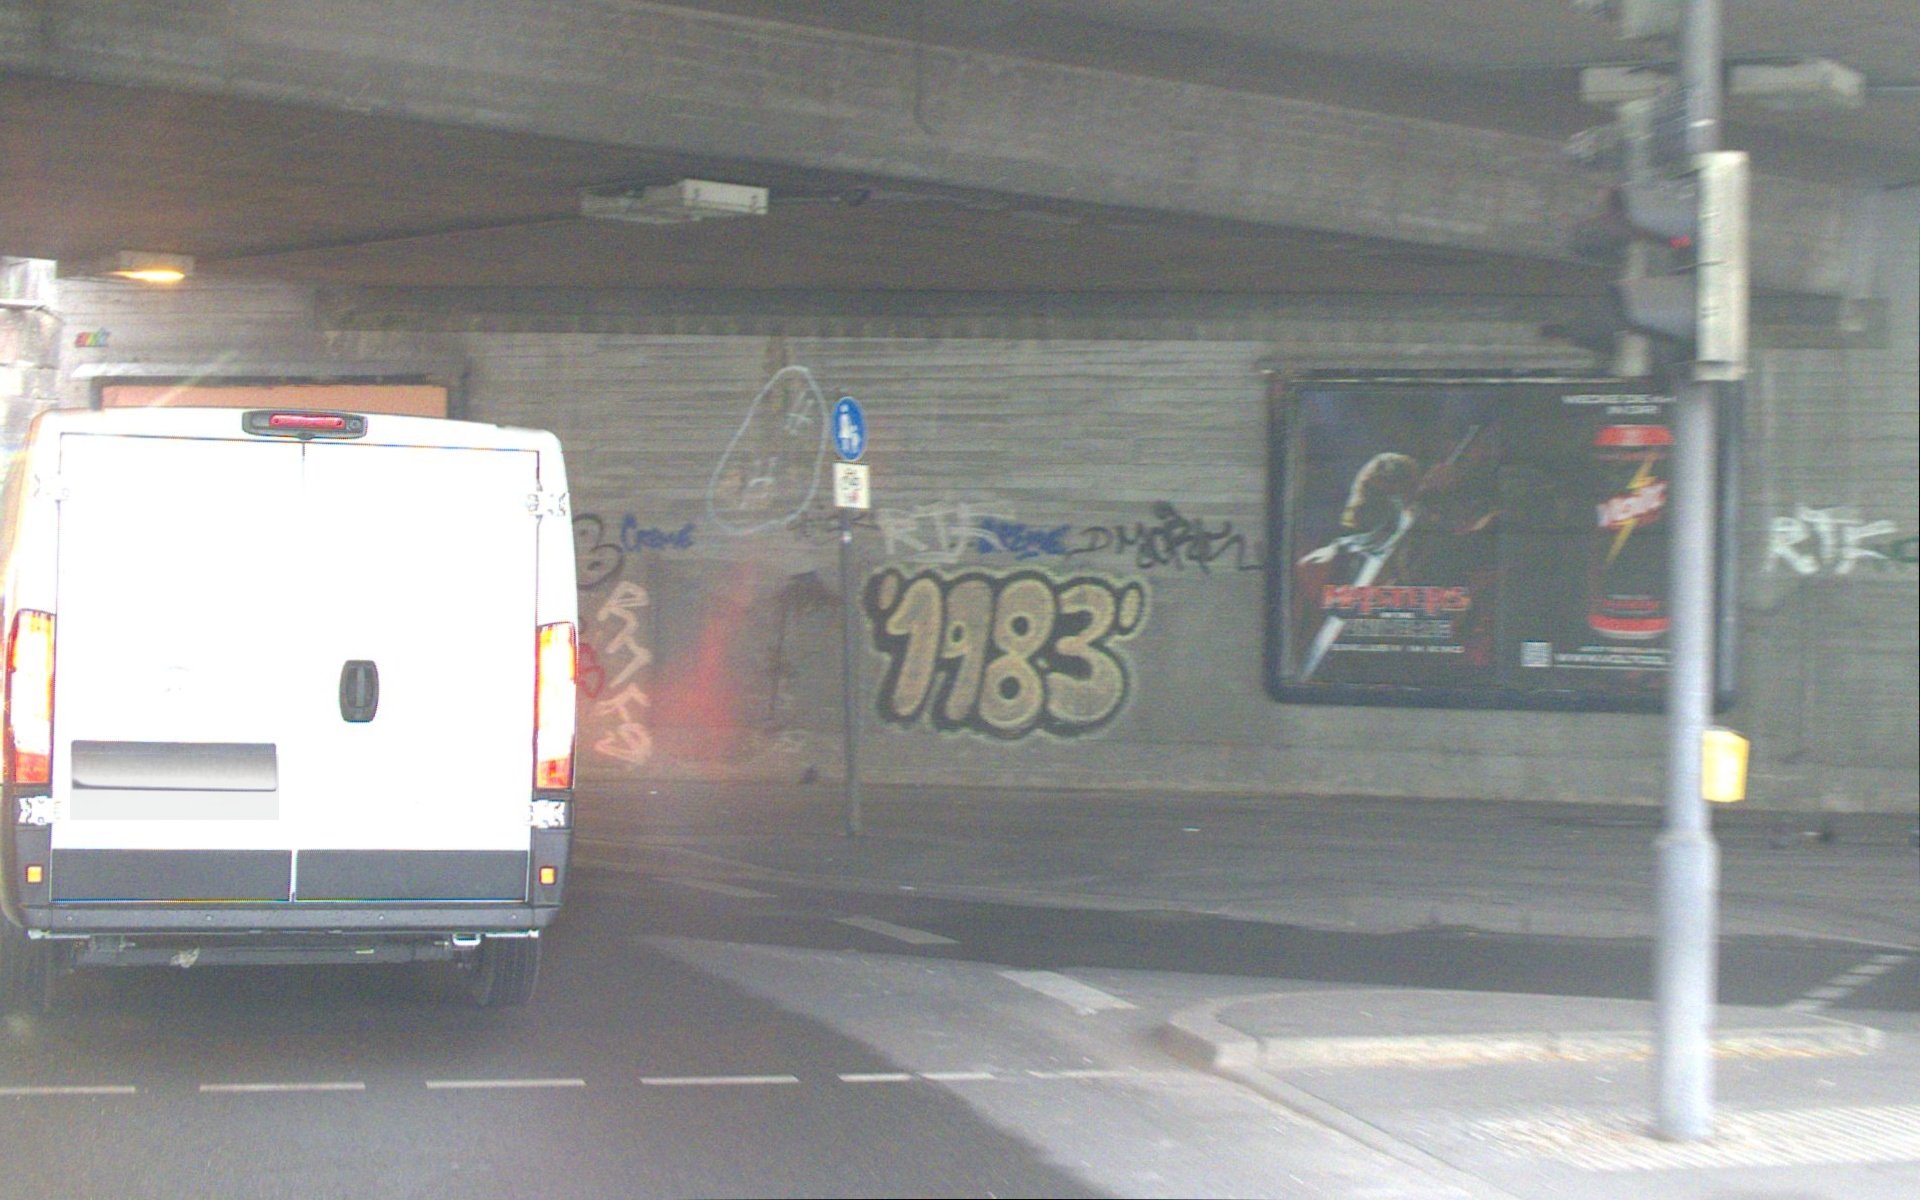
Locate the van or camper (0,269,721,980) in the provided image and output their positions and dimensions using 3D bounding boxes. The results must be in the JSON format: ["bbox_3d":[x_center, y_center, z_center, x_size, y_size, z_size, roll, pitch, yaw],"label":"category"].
[{"bbox_3d":[-2.899,0.151,14.327,2.697,2.409,4.904,1,-2,-18],"label":"van or camper"}]
